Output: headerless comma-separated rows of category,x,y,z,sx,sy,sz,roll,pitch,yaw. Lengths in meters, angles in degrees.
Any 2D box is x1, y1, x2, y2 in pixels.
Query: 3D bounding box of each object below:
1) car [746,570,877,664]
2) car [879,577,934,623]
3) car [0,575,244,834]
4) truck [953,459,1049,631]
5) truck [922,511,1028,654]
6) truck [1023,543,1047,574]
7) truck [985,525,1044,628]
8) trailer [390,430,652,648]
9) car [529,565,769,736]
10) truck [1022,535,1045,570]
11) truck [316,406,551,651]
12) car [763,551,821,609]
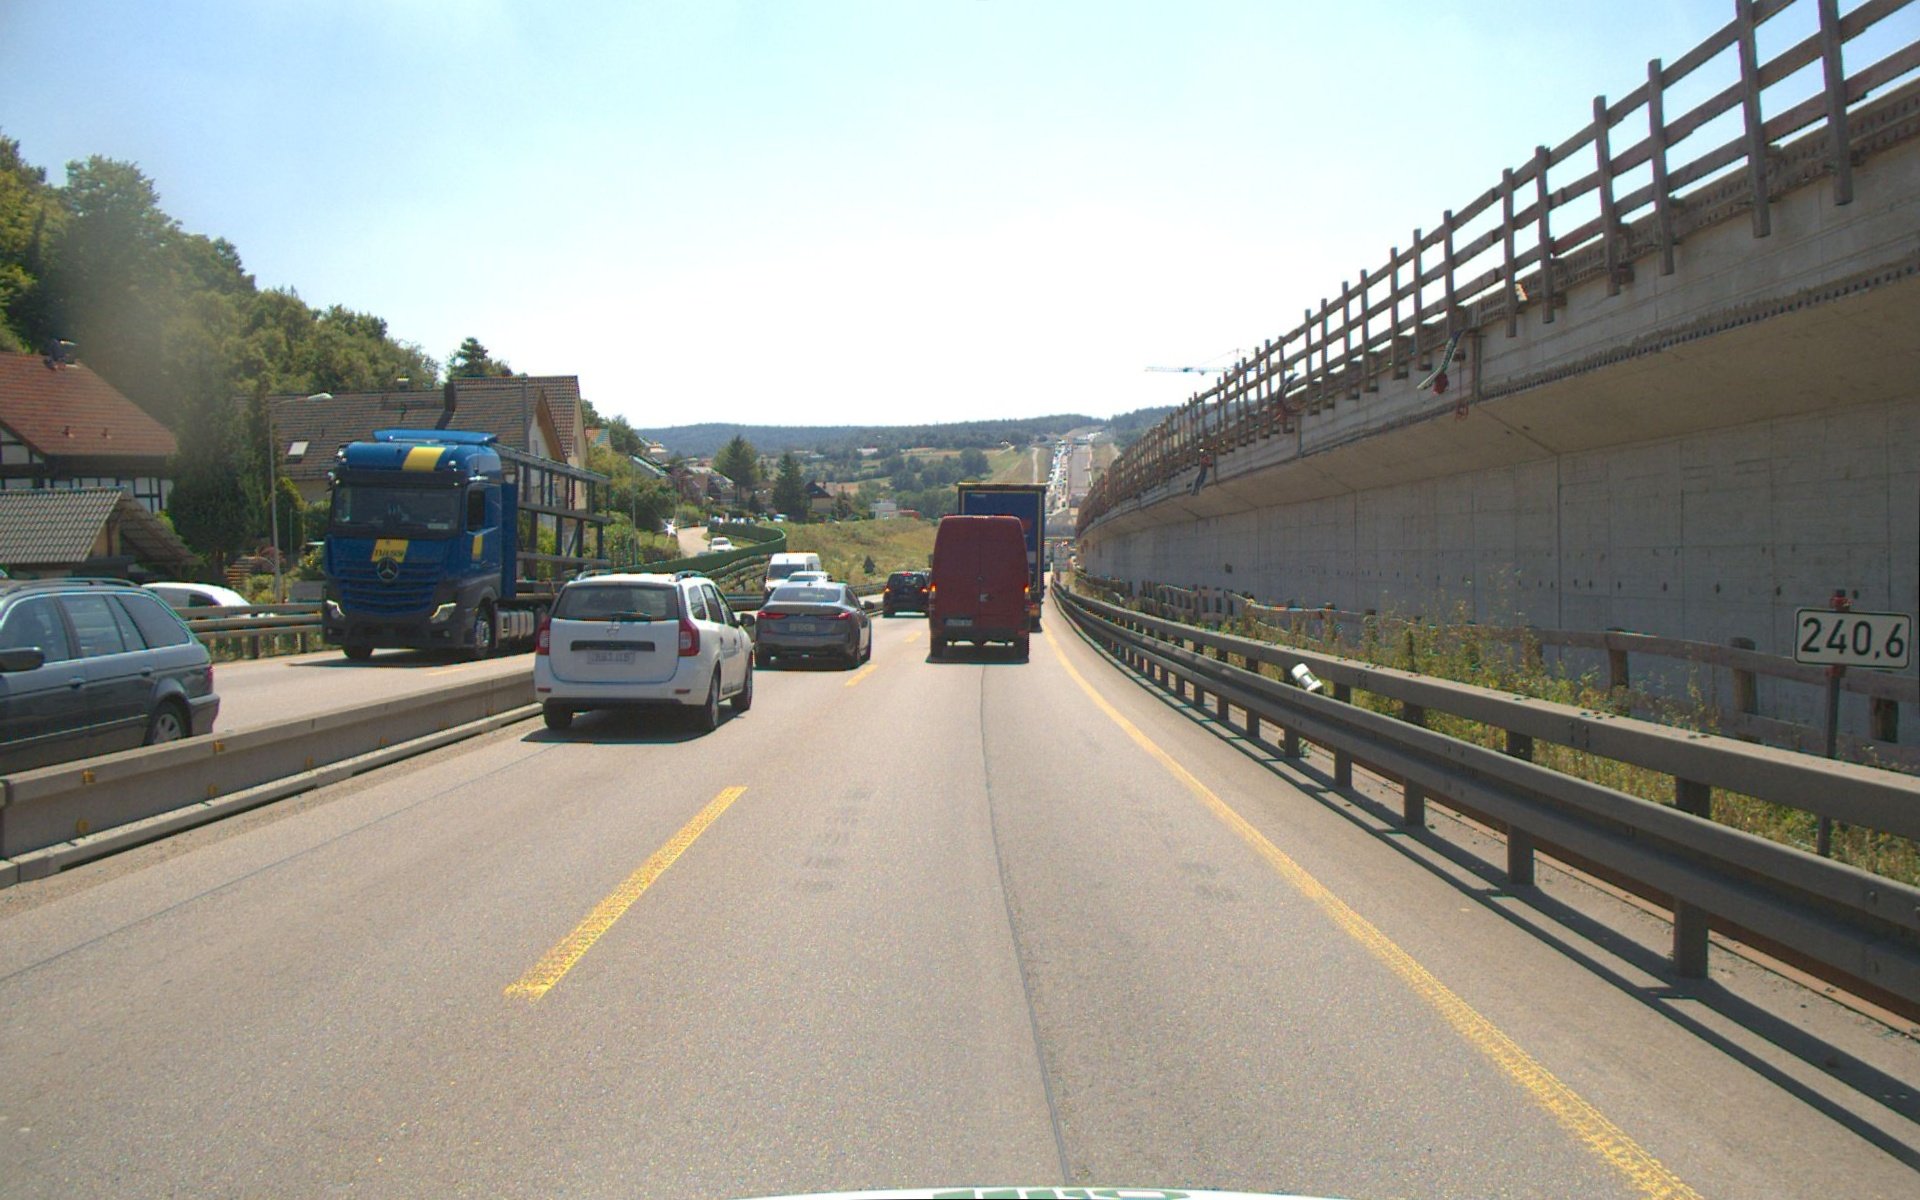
car,-2.503,0.288,28.741,1.757,1.511,4.050,-1,0,2
car,-1.940,0.040,60.871,1.772,1.636,3.719,0,-1,2
car,-6.278,0.591,10.429,1.512,1.489,4.628,0,1,0
truck,1.190,-1.508,51.958,2.729,4.900,9.684,0,-1,0
truck,0.325,-0.294,32.533,1.952,2.624,4.000,0,-1,1
truck,11.264,-6.203,248.856,3.394,4.458,8.560,0,-1,4
truck,2.685,-1.069,83.998,2.729,4.900,9.684,0,-1,0
trailer,-9.200,-1.098,36.333,2.456,4.034,11.400,0,0,1
car,-3.111,0.473,17.354,1.618,1.509,4.266,-2,0,1
truck,10.189,-6.513,228.173,3.004,4.458,8.560,0,-1,4
truck,-9.323,-1.147,29.857,2.456,4.034,5.175,0,-1,1
car,-7.816,-0.891,77.288,1.952,2.551,5.517,0,-1,2
